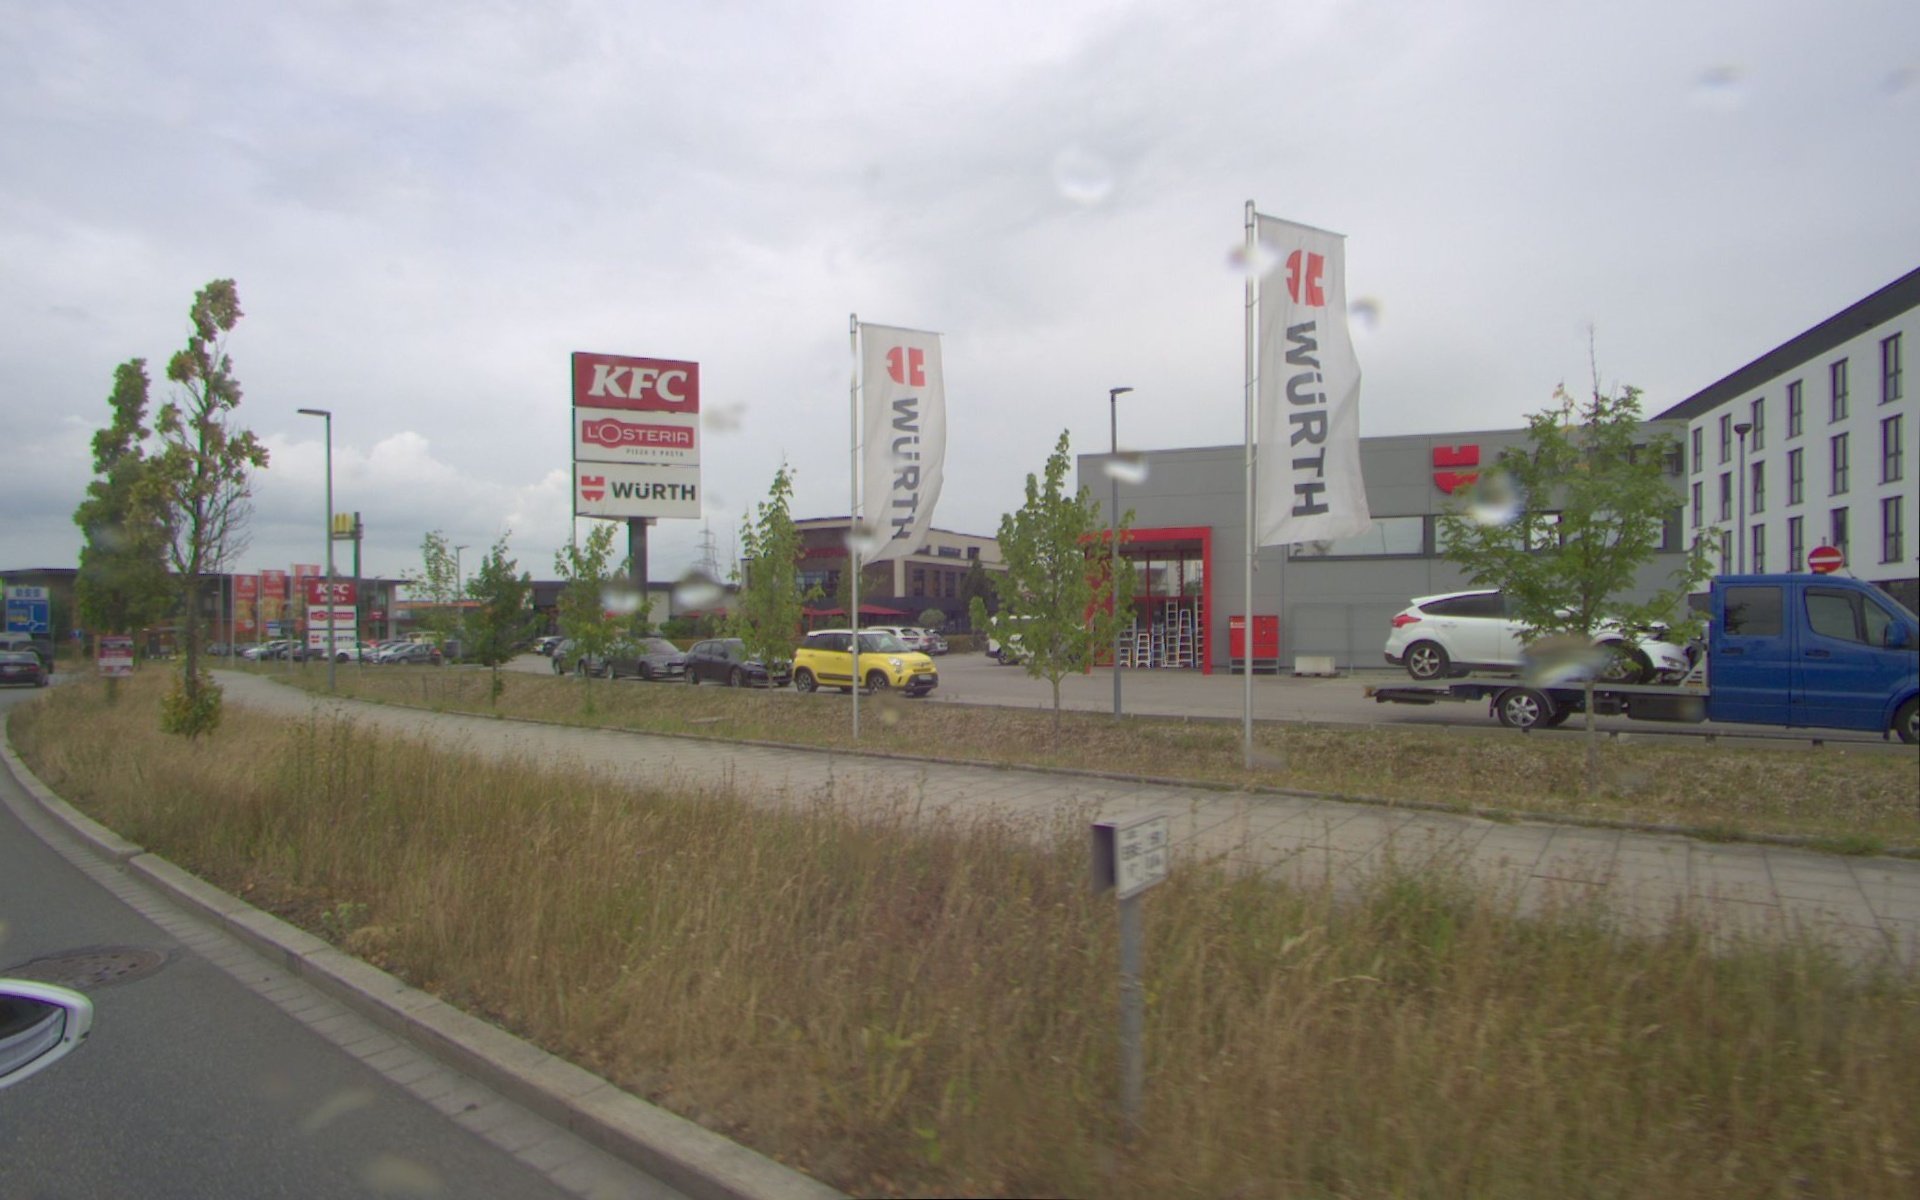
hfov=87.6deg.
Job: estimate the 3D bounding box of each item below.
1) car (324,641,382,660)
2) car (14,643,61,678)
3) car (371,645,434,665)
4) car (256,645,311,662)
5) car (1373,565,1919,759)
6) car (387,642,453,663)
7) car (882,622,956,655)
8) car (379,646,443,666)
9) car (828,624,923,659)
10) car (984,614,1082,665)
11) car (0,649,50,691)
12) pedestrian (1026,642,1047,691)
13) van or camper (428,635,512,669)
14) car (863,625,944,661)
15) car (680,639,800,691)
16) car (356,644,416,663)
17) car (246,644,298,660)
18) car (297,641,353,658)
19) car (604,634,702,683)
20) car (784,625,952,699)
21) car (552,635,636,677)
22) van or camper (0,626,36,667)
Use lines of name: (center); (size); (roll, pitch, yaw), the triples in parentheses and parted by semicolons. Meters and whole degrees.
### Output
car: (-46.083, 3.818, 76.071); (3.565, 1.260, 1.616); (1, -1, -41)
car: (-54.986, 3.577, 59.748); (1.979, 1.948, 4.805); (0, -2, -42)
car: (-38.764, 3.806, 69.653); (3.565, 1.260, 1.616); (1, -1, -41)
car: (-54.966, 4.313, 81.398); (3.565, 1.260, 1.616); (1, -1, -41)
car: (10.415, 0.808, 14.747); (7.771, 2.353, 2.183); (-1, -1, 43)
car: (-35.669, 3.463, 66.161); (3.565, 1.260, 1.616); (1, -1, -41)
car: (-2.418, 2.262, 58.948); (3.931, 1.884, 1.996); (-1, -1, 21)
car: (-37.191, 3.767, 67.850); (3.565, 1.260, 1.616); (1, -1, -41)
car: (-4.408, 2.168, 52.184); (4.661, 1.771, 1.754); (-1, -1, 22)
car: (2.963, 1.587, 40.631); (3.612, 2.005, 1.673); (-1, 0, 20)
car: (-36.077, 2.648, 38.325); (1.742, 1.404, 4.260); (1, -1, -44)
pedestrian: (2.934, 2.565, 38.628); (0.647, 1.831, 0.648); (0, 0, 21)
van or camper: (-27.854, 2.907, 57.005); (3.958, 1.817, 1.805); (1, -1, -42)
car: (-3.076, 2.306, 54.755); (3.931, 1.884, 1.996); (-1, -1, 21)
car: (-6.653, 1.891, 30.032); (1.726, 1.379, 3.962); (-1, -1, -44)
car: (-41.989, 3.924, 73.255); (3.565, 1.260, 1.616); (1, -1, -41)
car: (-59.368, 4.477, 86.464); (3.565, 1.260, 1.616); (1, -1, -41)
car: (-50.964, 3.978, 80.386); (3.565, 1.260, 1.616); (1, -1, -41)
car: (-10.669, 1.975, 34.639); (1.698, 1.518, 3.964); (-1, -1, -42)
car: (-2.400, 1.528, 25.453); (4.247, 1.705, 1.740); (-2, -1, 39)
car: (-14.287, 2.136, 38.989); (1.698, 1.518, 3.964); (-1, -1, -42)
van or camper: (-63.328, 3.099, 66.865); (2.172, 2.573, 6.114); (0, -2, -41)
